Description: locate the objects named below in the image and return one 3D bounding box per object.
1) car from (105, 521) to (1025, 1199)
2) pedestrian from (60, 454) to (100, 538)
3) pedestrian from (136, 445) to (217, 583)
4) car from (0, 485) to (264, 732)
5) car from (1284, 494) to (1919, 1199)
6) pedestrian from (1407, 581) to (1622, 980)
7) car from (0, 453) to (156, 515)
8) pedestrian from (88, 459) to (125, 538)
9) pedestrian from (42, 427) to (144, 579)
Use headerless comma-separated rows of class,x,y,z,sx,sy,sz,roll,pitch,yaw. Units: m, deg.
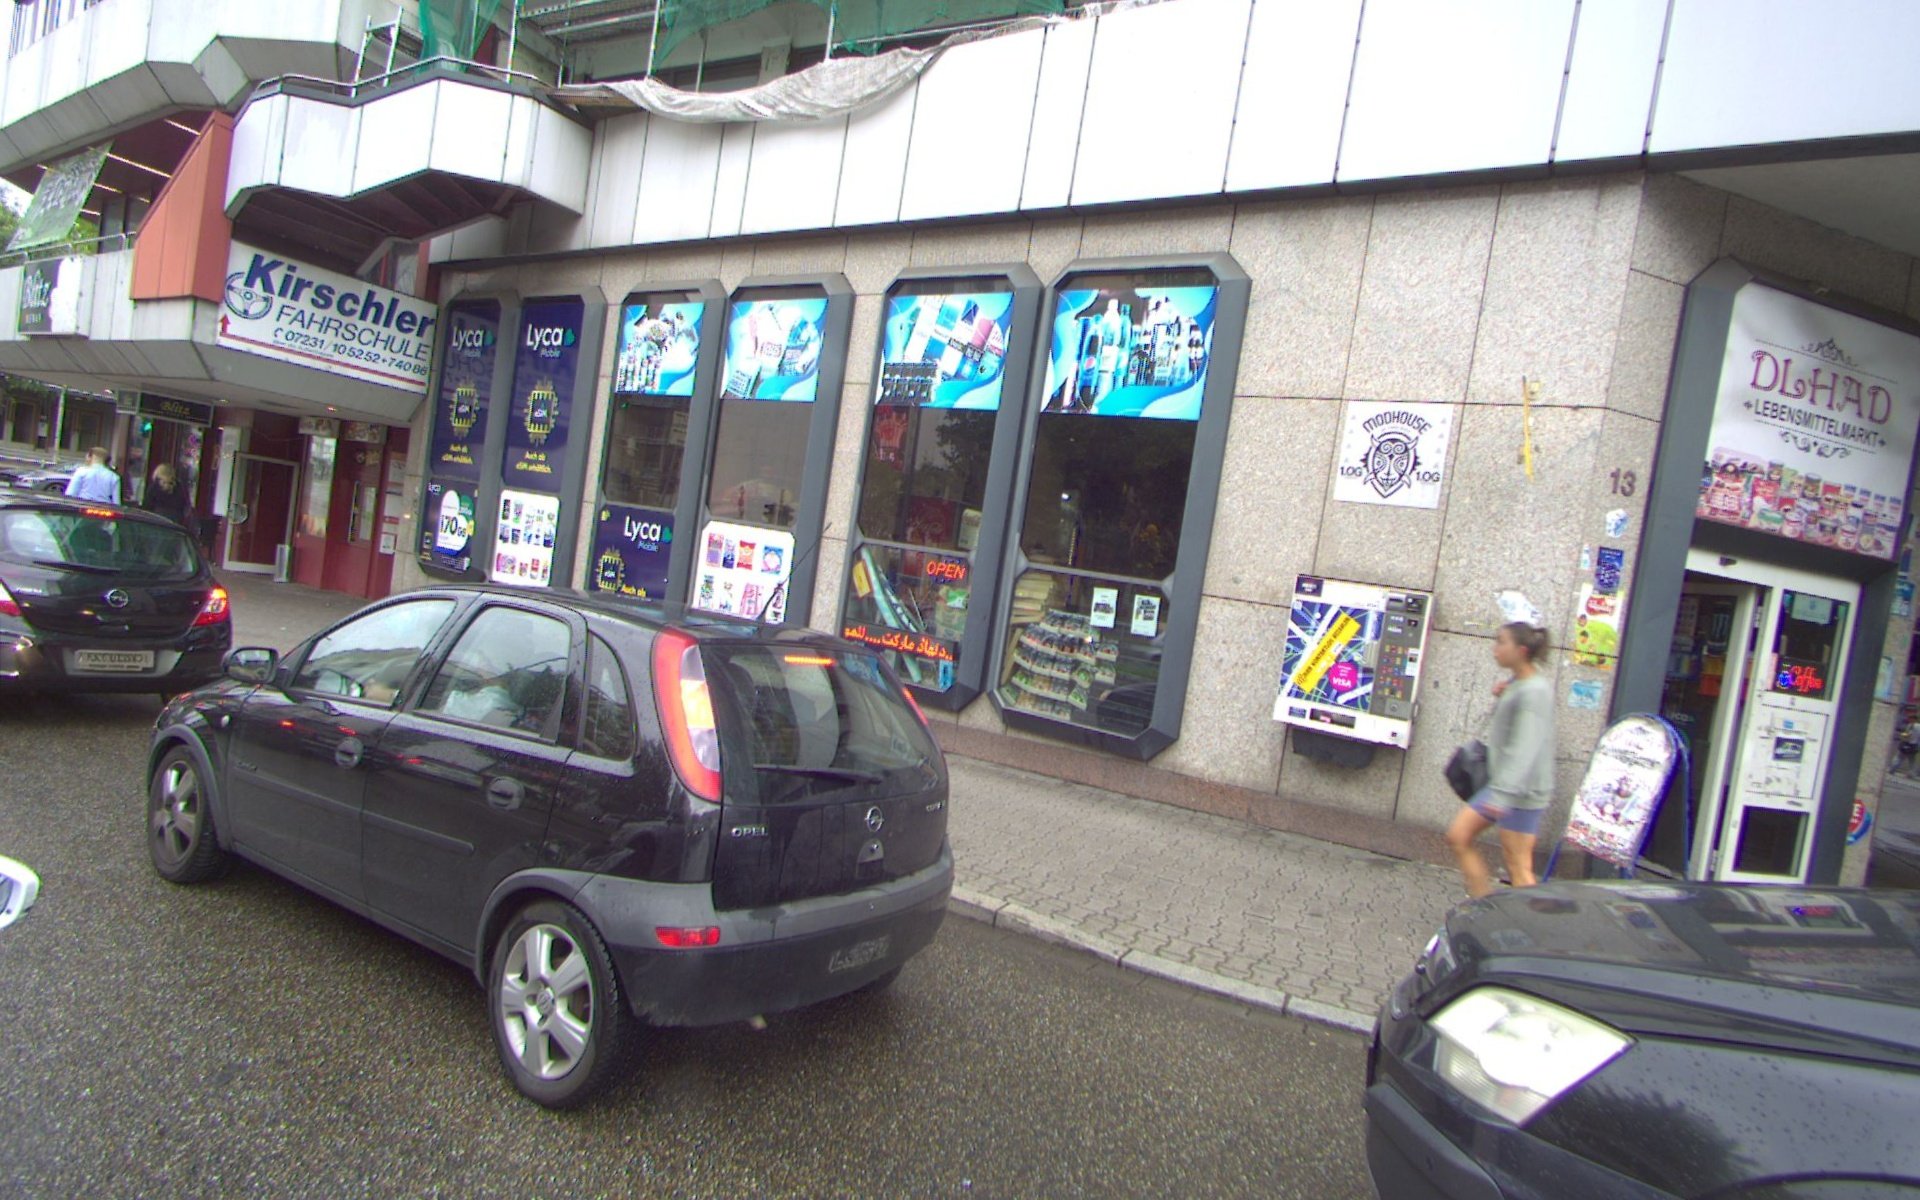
car,-1.754,0.647,4.122,3.563,1.446,1.609,8,-1,33
pedestrian,-18.667,-2.207,21.330,0.443,1.704,0.426,6,1,30
pedestrian,-11.559,-1.253,14.846,0.629,1.961,0.736,6,4,31
car,-7.061,-0.106,7.353,3.776,1.446,1.620,8,-1,29
car,2.789,1.015,1.437,4.094,1.786,1.763,8,-1,32
pedestrian,2.858,0.856,5.227,0.760,1.841,0.741,6,4,30
car,-28.202,-3.652,31.980,1.808,1.226,3.690,5,-3,36
pedestrian,-18.636,-2.208,21.974,0.496,1.660,0.396,6,1,32
pedestrian,-12.023,-1.334,13.959,0.629,1.957,0.737,6,-1,31
